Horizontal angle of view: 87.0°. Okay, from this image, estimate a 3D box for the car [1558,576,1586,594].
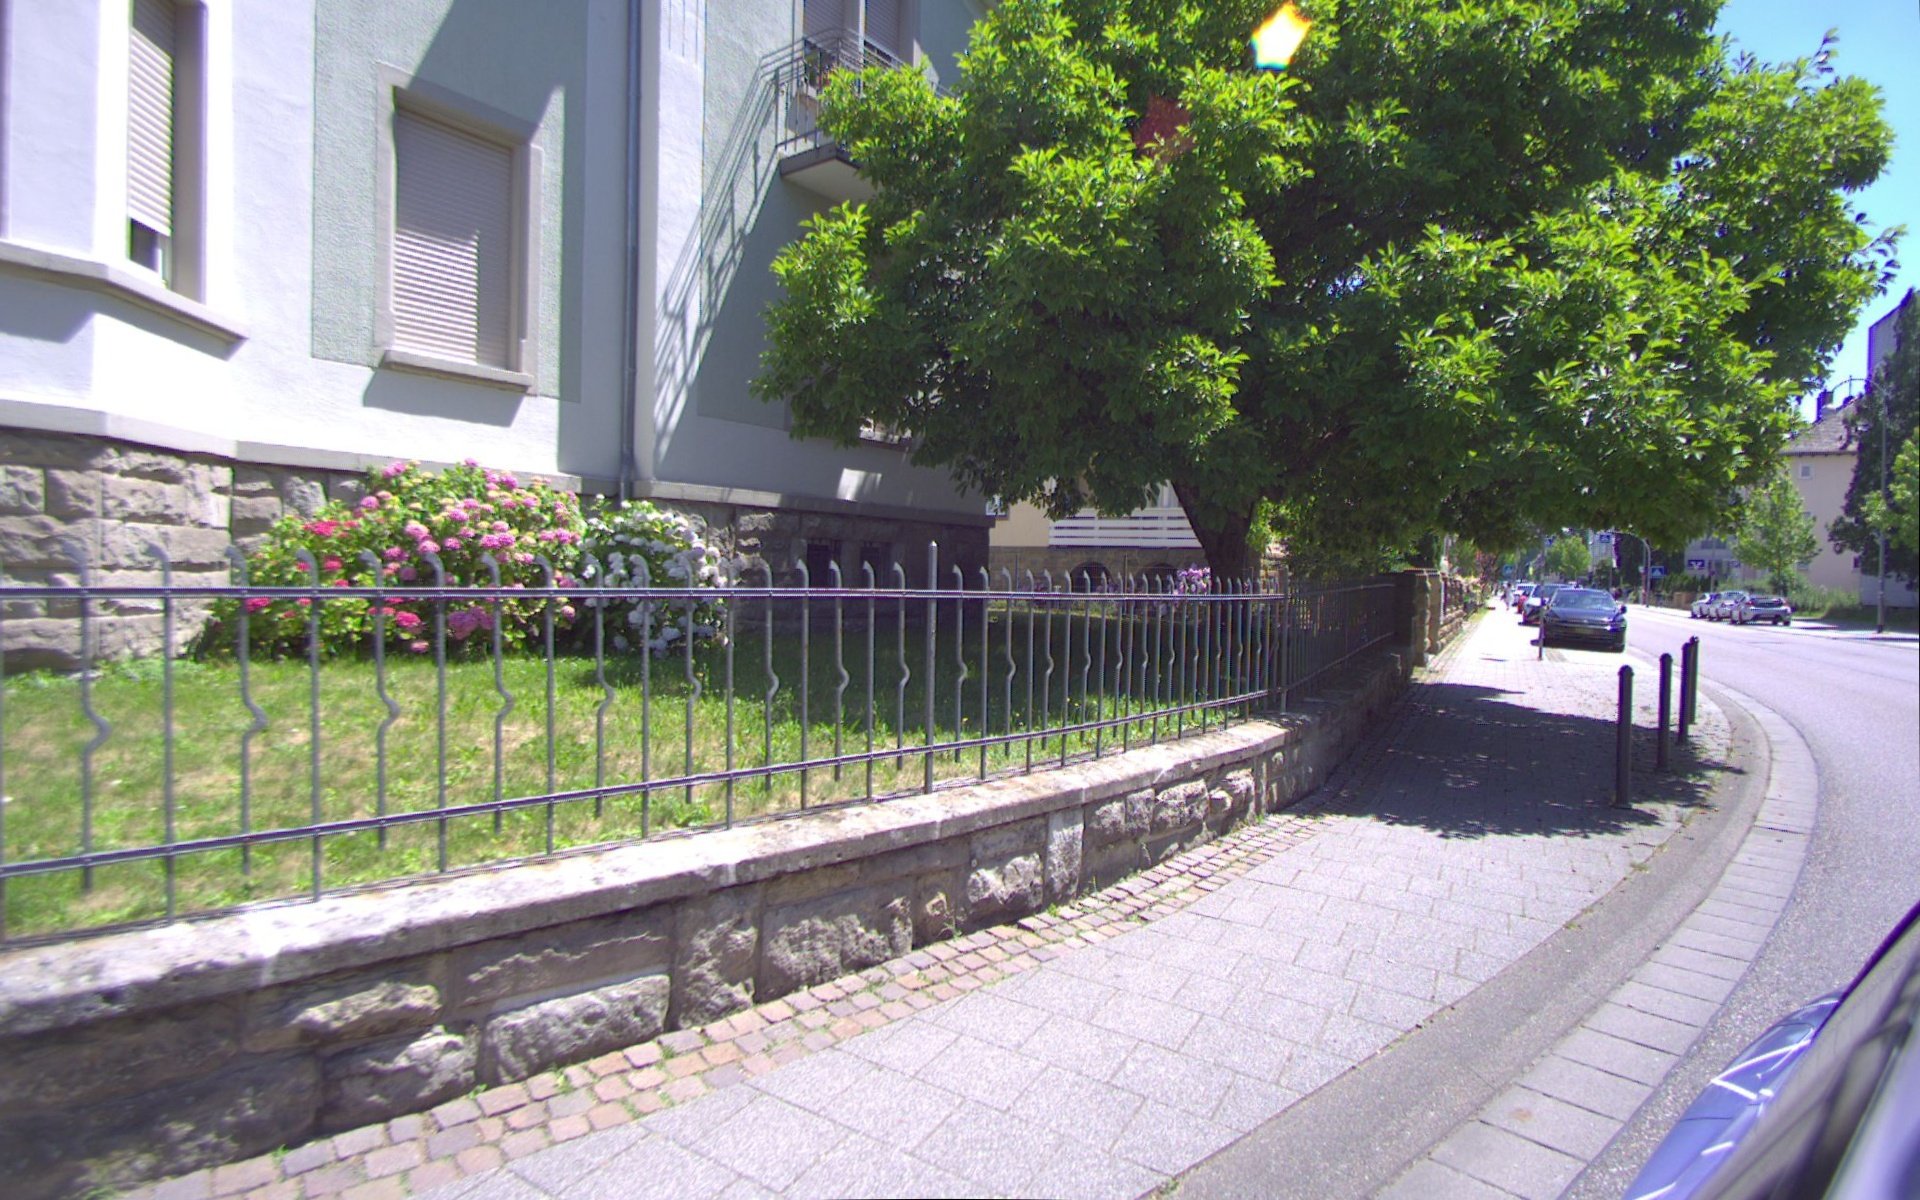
[{"bbox_3d":[57.467,-1.402,95.120,1.829,1.680,3.965,0,1,25],"label":"car"}]

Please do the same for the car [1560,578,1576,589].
[{"bbox_3d":[95.167,-2.647,158.471,1.983,1.652,3.958,0,1,30],"label":"car"}]

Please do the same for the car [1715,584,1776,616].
[{"bbox_3d":[39.294,-0.048,50.709,1.730,1.521,3.699,1,1,27],"label":"car"}]

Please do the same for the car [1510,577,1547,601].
[{"bbox_3d":[40.162,-0.810,71.586,1.979,1.643,3.965,0,1,25],"label":"car"}]

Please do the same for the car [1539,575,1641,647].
[{"bbox_3d":[15.662,0.218,25.330,1.758,1.560,3.962,4,3,27],"label":"car"}]

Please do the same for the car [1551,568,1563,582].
[{"bbox_3d":[111.746,-4.680,189.496,1.996,2.407,3.957,0,1,31],"label":"car"}]

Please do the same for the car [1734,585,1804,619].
[{"bbox_3d":[36.885,0.050,46.228,1.720,1.467,3.992,0,1,27],"label":"car"}]

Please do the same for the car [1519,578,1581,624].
[{"bbox_3d":[22.323,0.005,38.404,1.758,1.560,3.962,3,3,27],"label":"car"}]

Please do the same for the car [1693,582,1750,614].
[{"bbox_3d":[41.151,-0.143,54.764,1.758,1.560,3.962,2,2,27],"label":"car"}]
